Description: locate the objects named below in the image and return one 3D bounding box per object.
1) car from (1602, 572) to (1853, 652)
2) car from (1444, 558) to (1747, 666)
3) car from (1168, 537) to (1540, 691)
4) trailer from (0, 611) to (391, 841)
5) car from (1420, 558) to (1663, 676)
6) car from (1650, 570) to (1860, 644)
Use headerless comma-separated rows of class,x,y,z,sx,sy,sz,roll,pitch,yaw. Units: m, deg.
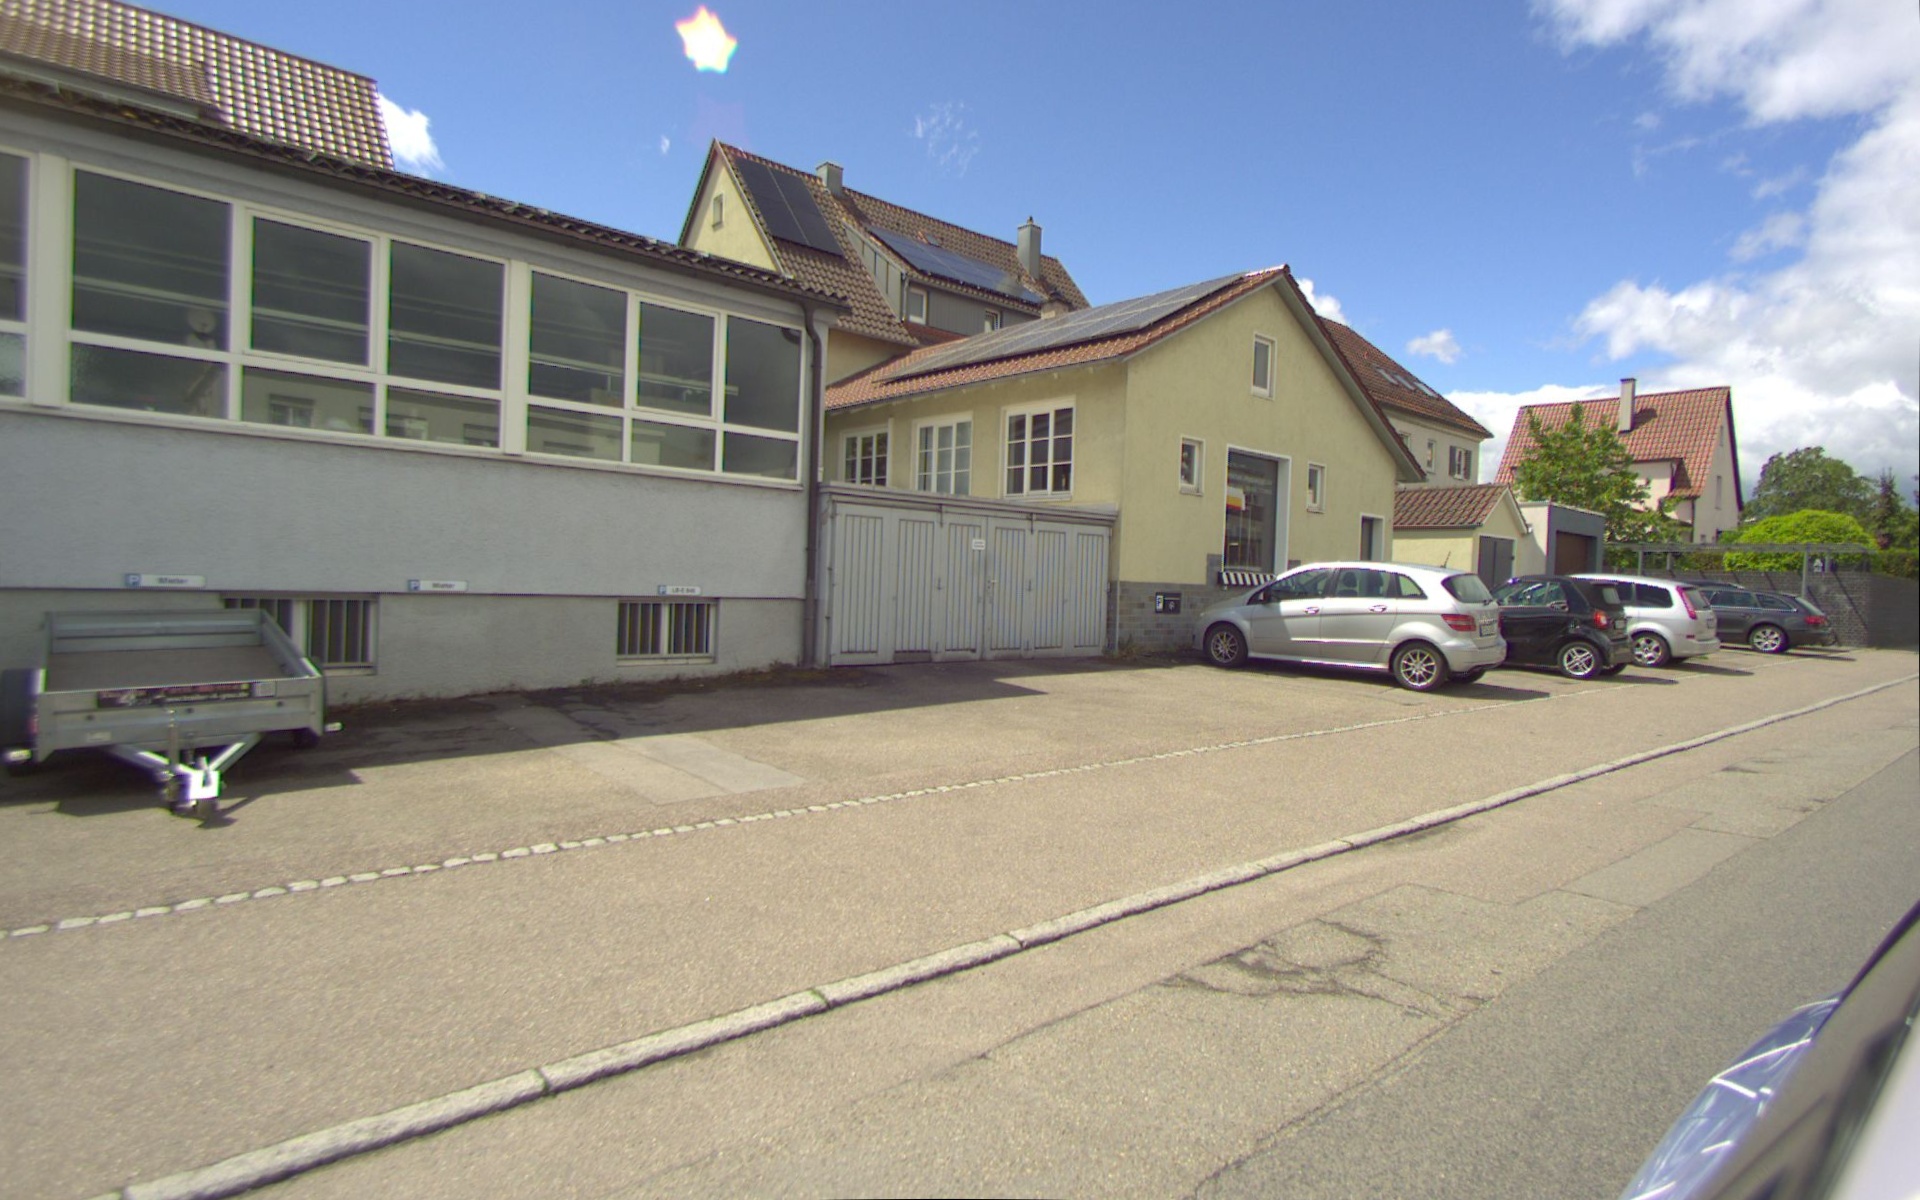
car,18.141,0.214,24.087,1.941,1.423,4.416,0,5,-42
car,11.858,0.130,19.129,1.941,1.543,4.416,0,5,-42
car,5.351,0.059,14.232,1.941,1.627,4.416,0,5,-42
trailer,-5.036,0.598,6.589,1.628,0.818,3.825,0,3,-40
car,9.377,0.194,16.416,1.941,1.543,2.894,0,5,-42
car,20.654,0.123,26.409,1.822,1.634,4.010,0,3,-42
